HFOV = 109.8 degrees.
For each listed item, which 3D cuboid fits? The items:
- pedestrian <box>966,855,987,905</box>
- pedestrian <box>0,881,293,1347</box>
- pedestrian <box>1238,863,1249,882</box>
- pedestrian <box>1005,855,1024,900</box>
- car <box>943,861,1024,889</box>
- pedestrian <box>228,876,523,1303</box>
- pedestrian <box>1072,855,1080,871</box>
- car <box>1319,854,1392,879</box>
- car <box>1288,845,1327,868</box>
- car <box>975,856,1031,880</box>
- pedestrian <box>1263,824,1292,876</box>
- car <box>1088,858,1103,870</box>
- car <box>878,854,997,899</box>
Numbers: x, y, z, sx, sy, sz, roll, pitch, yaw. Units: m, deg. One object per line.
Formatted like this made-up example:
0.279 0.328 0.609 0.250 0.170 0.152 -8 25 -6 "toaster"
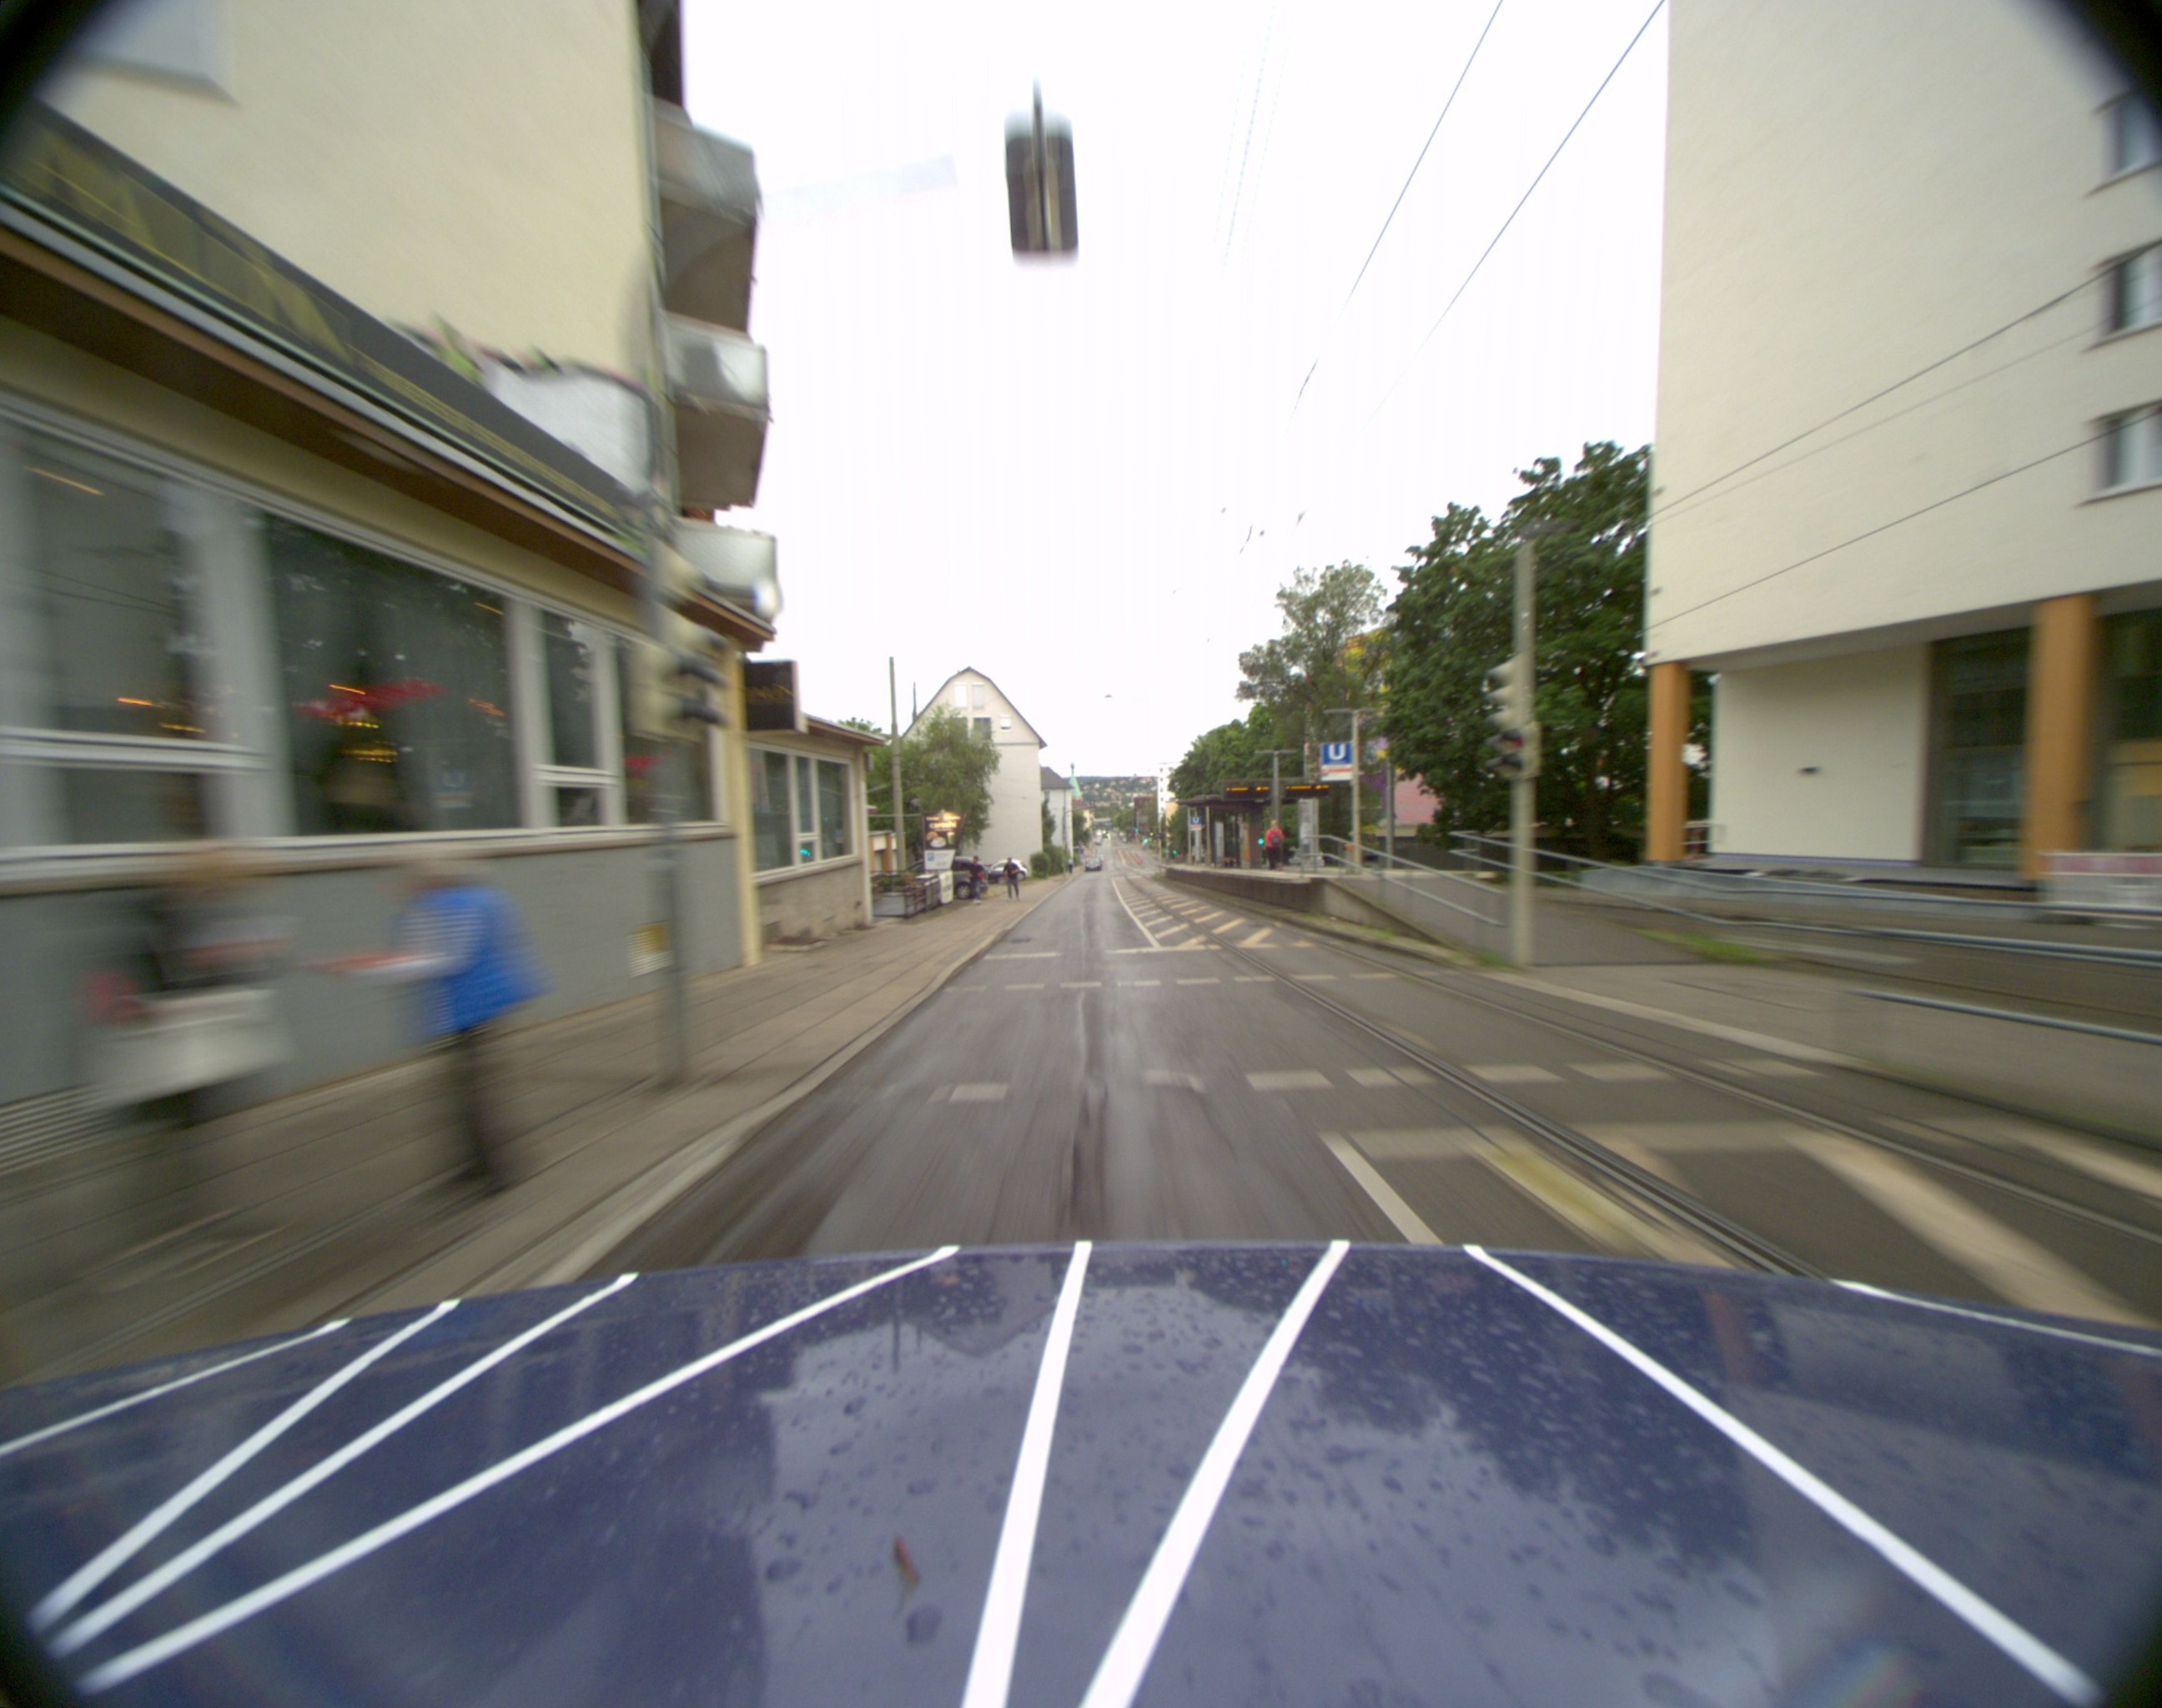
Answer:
-3.664 0.909 26.689 0.580 1.704 0.614 -3 0 -2 "pedestrian"
-3.498 0.882 2.826 0.547 1.545 0.559 0 0 -1 "pedestrian"
14.131 1.621 66.180 0.754 1.584 0.617 -3 0 4 "pedestrian"
-2.541 0.893 29.033 0.721 1.704 0.608 0 0 -5 "pedestrian"
-6.309 1.345 49.591 4.943 1.428 1.974 -3 1 2 "car"
-2.813 0.870 3.098 0.589 1.545 0.650 0 0 1 "pedestrian"
-0.510 0.902 76.816 0.657 1.611 0.630 -1 1 7 "pedestrian"
18.238 0.854 50.470 4.483 1.533 1.948 -2 0 22 "car"
17.659 0.219 59.459 1.751 1.706 4.442 -1 0 0 "car"
-5.662 1.025 55.668 3.998 1.460 1.814 -2 6 -3 "car"
5.974 -0.103 23.144 0.672 1.539 0.771 -1 0 1 "pedestrian"
1.826 1.252 96.117 1.725 1.350 4.001 -2 0 3 "car"
-5.674 0.882 30.364 4.338 1.664 1.781 1 -1 3 "car"
